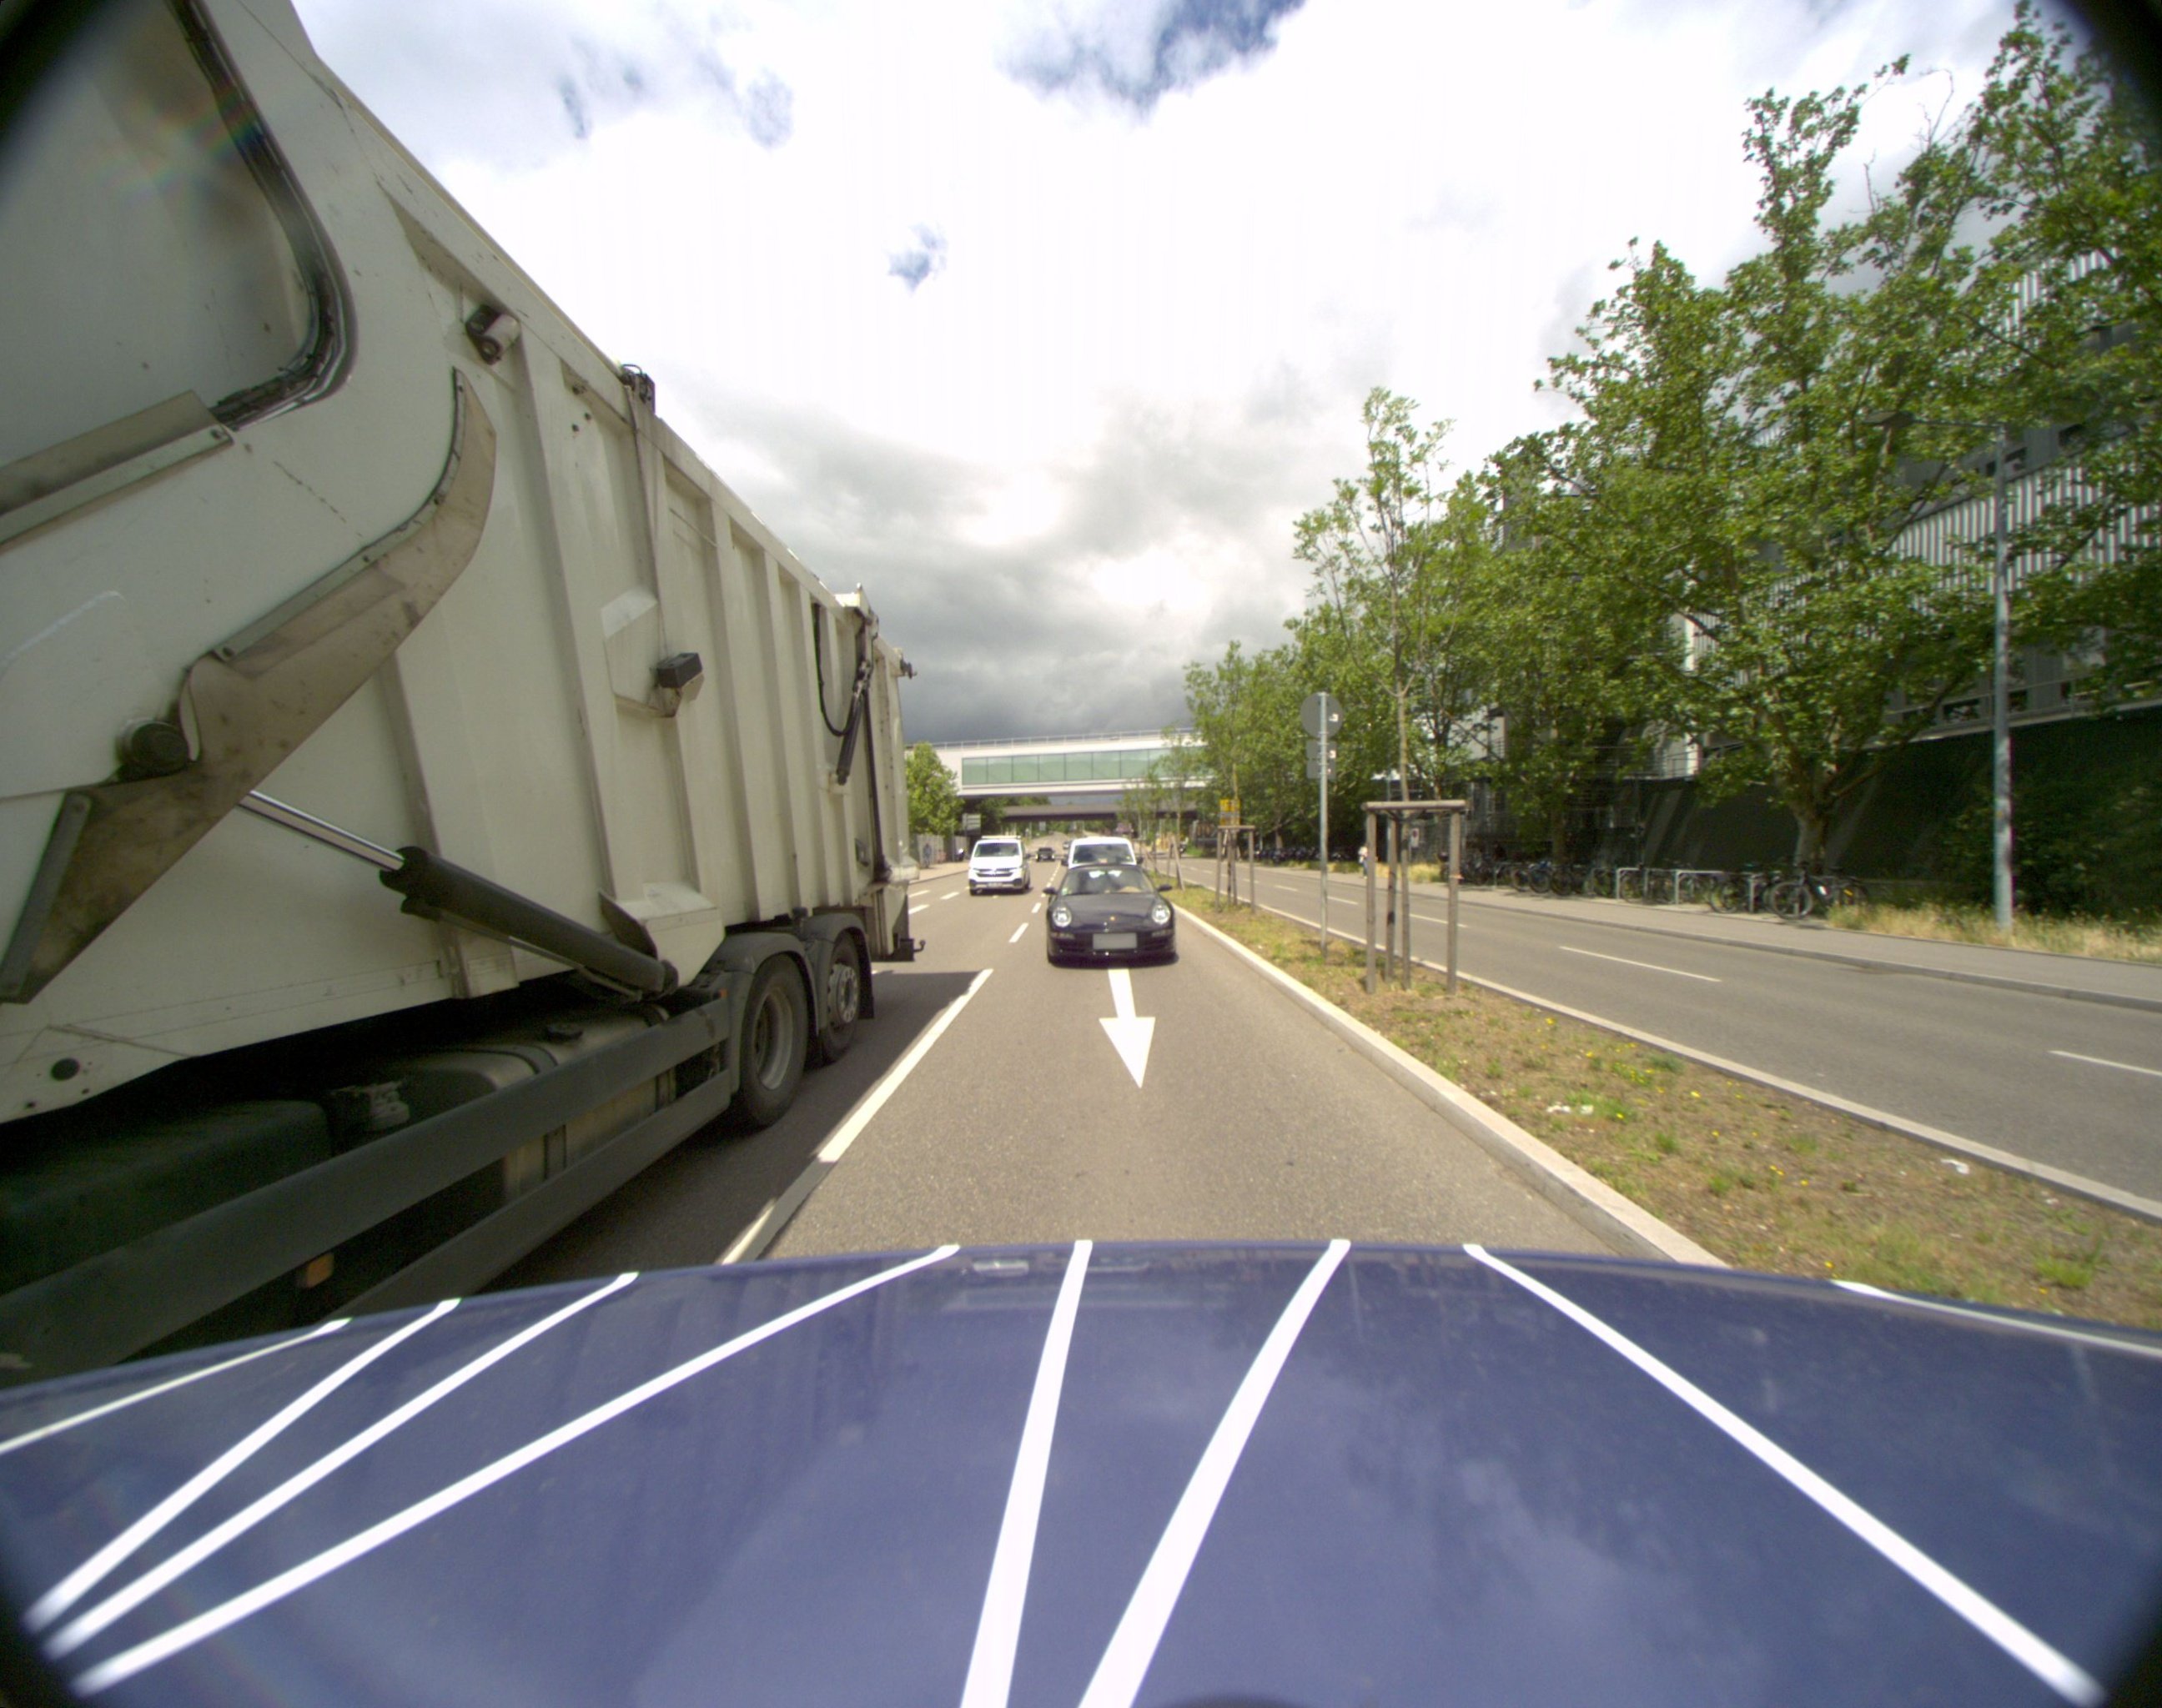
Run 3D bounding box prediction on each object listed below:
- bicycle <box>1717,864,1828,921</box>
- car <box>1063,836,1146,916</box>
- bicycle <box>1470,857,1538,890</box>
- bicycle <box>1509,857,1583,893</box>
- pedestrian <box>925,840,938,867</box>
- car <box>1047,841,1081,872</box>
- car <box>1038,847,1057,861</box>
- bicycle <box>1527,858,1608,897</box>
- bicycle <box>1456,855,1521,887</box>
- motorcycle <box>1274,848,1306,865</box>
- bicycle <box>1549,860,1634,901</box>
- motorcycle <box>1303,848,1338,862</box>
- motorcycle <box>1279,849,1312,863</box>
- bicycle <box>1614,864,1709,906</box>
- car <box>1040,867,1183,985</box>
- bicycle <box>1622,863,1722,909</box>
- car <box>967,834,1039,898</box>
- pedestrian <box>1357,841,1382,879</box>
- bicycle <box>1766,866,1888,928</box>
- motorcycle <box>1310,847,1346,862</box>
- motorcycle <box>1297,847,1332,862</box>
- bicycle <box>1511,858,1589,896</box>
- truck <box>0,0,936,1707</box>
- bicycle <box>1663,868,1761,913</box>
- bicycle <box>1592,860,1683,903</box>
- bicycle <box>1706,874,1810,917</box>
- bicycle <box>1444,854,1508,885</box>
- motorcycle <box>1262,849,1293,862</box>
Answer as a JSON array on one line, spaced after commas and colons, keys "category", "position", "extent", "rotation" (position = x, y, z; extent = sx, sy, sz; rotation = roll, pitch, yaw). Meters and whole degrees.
[{"category": "bicycle", "position": [14.414, 0.789, 15.857], "extent": [1.993, 1.122, 0.382], "rotation": [-1, 1, -1]}, {"category": "car", "position": [0.573, 0.478, 20.023], "extent": [1.862, 1.800, 4.905], "rotation": [-1, 1, 1]}, {"category": "bicycle", "position": [14.875, 0.674, 26.716], "extent": [2.129, 1.104, 0.382], "rotation": [-1, 1, 3]}, {"category": "bicycle", "position": [15.119, 0.673, 24.705], "extent": [2.129, 1.104, 0.382], "rotation": [-1, 1, 3]}, {"category": "pedestrian", "position": [-10.993, -0.033, 55.945], "extent": [0.739, 1.901, 0.658], "rotation": [-2, 2, -5]}, {"category": "car", "position": [-1.024, 0.143, 48.083], "extent": [1.862, 1.800, 4.356], "rotation": [-3, 1, 1]}, {"category": "car", "position": [-3.414, 0.000, 78.593], "extent": [1.862, 1.369, 4.356], "rotation": [-1, 1, -1]}, {"category": "bicycle", "position": [14.534, 0.696, 22.703], "extent": [2.129, 1.104, 0.382], "rotation": [-1, 1, 3]}, {"category": "bicycle", "position": [14.804, 0.617, 27.639], "extent": [2.129, 1.104, 0.382], "rotation": [-1, 1, 3]}, {"category": "motorcycle", "position": [15.033, 0.193, 54.710], "extent": [2.133, 1.131, 0.534], "rotation": [-1, 1, 1]}, {"category": "bicycle", "position": [14.557, 0.750, 21.679], "extent": [2.129, 1.104, 0.382], "rotation": [-1, 1, 3]}, {"category": "motorcycle", "position": [15.758, 0.056, 49.980], "extent": [2.133, 0.880, 0.534], "rotation": [-1, 1, 1]}, {"category": "motorcycle", "position": [15.138, 0.151, 53.572], "extent": [2.133, 0.963, 0.534], "rotation": [-1, 1, 1]}, {"category": "bicycle", "position": [15.069, 0.794, 19.735], "extent": [2.129, 1.025, 0.382], "rotation": [-1, 1, 3]}, {"category": "car", "position": [0.394, 0.910, 11.140], "extent": [1.710, 1.281, 3.806], "rotation": [-1, 1, 1]}, {"category": "bicycle", "position": [14.636, 0.790, 18.841], "extent": [2.129, 1.090, 0.382], "rotation": [-1, 1, 3]}, {"category": "car", "position": [-2.727, 0.392, 27.612], "extent": [1.925, 2.082, 4.656], "rotation": [-1, 1, 2]}, {"category": "pedestrian", "position": [12.898, 0.263, 33.969], "extent": [0.900, 1.711, 0.672], "rotation": [-1, 1, 1]}, {"category": "bicycle", "position": [14.440, 0.826, 14.720], "extent": [1.993, 1.122, 0.382], "rotation": [-1, 1, -1]}, {"category": "motorcycle", "position": [15.621, 0.056, 48.062], "extent": [2.133, 0.893, 0.534], "rotation": [-1, 1, 1]}, {"category": "motorcycle", "position": [15.729, 0.035, 51.203], "extent": [2.133, 0.963, 0.534], "rotation": [-1, 1, 1]}, {"category": "bicycle", "position": [14.560, 0.712, 23.590], "extent": [2.129, 1.104, 0.382], "rotation": [-1, 1, 3]}, {"category": "truck", "position": [-2.968, -0.294, 3.613], "extent": [2.495, 3.891, 10.171], "rotation": [-2, 1, 0]}, {"category": "bicycle", "position": [14.812, 0.857, 17.840], "extent": [1.993, 0.992, 0.382], "rotation": [-1, 1, -1]}, {"category": "bicycle", "position": [15.099, 0.743, 20.641], "extent": [2.129, 1.104, 0.382], "rotation": [-1, 1, 3]}, {"category": "bicycle", "position": [15.016, 0.924, 16.862], "extent": [1.993, 0.886, 0.382], "rotation": [-1, 1, -1]}, {"category": "bicycle", "position": [14.800, 0.585, 28.480], "extent": [2.129, 1.104, 0.382], "rotation": [-1, 1, 3]}, {"category": "motorcycle", "position": [14.602, 0.118, 56.511], "extent": [2.133, 0.963, 0.534], "rotation": [-1, 1, 1]}]
